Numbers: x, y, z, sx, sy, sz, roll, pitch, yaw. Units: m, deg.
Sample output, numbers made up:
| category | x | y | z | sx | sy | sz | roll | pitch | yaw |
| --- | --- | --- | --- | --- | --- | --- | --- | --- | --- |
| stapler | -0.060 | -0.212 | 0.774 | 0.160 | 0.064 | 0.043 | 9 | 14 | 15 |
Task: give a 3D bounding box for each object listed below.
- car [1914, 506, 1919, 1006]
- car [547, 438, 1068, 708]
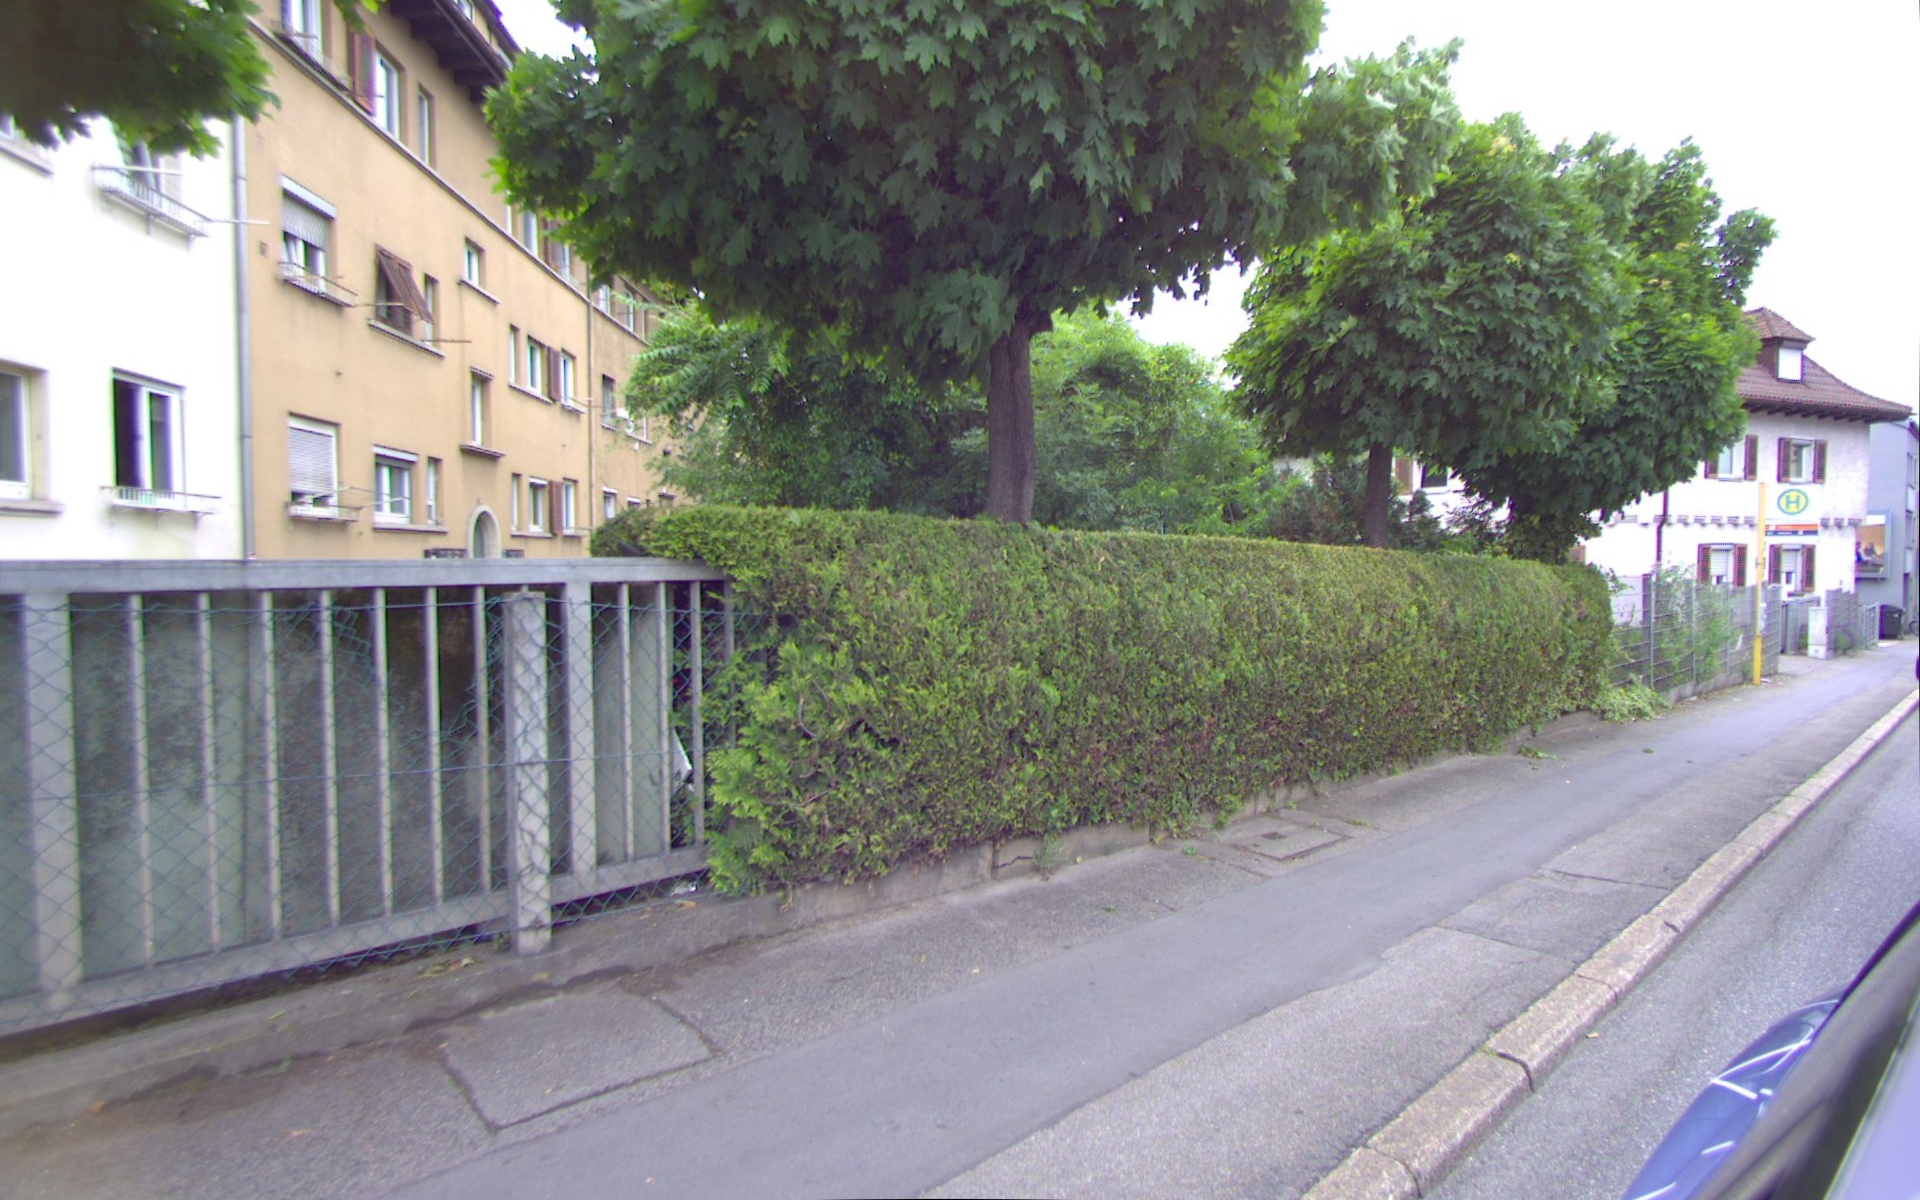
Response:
| category | x | y | z | sx | sy | sz | roll | pitch | yaw |
| --- | --- | --- | --- | --- | --- | --- | --- | --- | --- |
| car | 5.801 | 0.544 | 4.466 | 4.629 | 1.804 | 1.861 | -1 | 0 | -41 |
| car | -0.974 | -0.170 | 7.329 | 3.381 | 1.478 | 1.698 | -1 | 0 | -43 |
